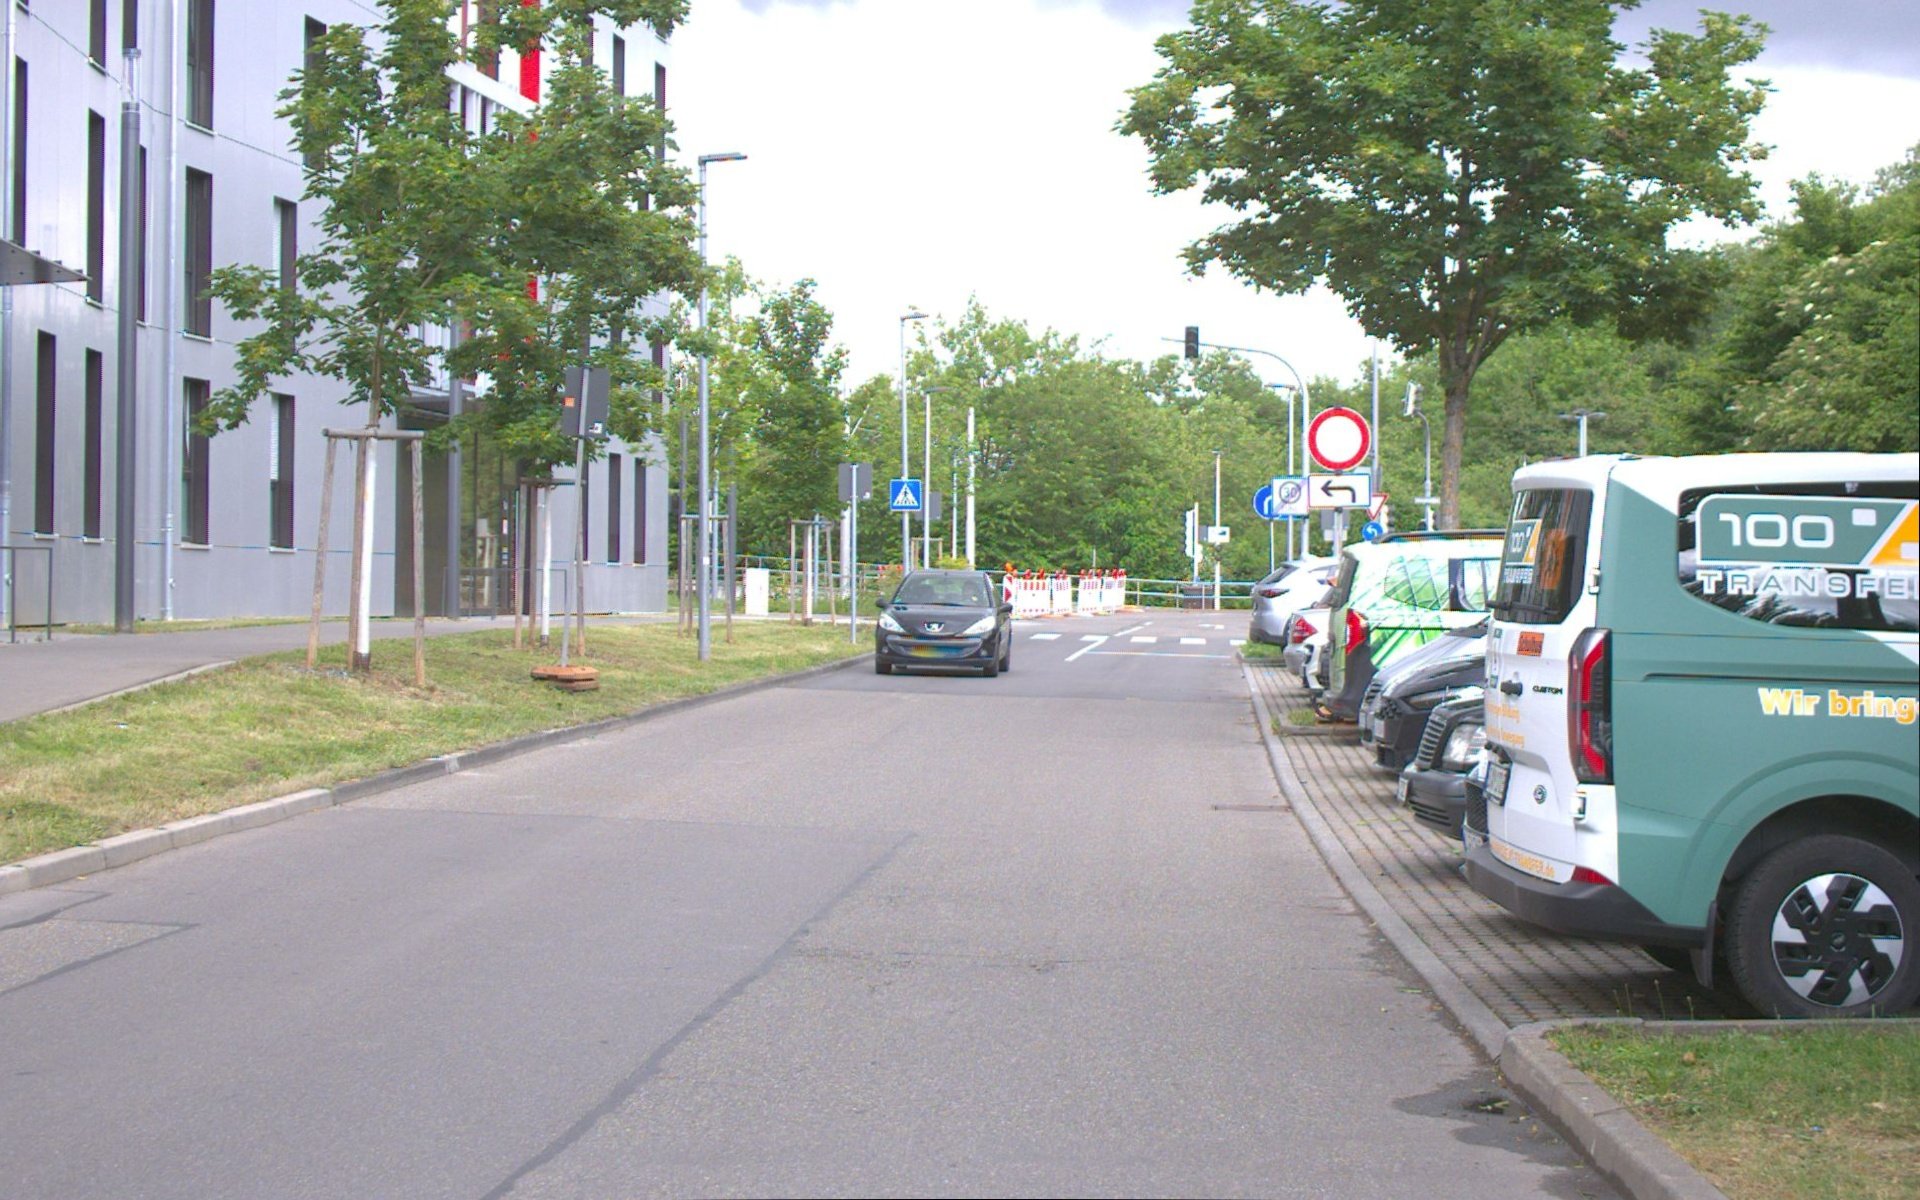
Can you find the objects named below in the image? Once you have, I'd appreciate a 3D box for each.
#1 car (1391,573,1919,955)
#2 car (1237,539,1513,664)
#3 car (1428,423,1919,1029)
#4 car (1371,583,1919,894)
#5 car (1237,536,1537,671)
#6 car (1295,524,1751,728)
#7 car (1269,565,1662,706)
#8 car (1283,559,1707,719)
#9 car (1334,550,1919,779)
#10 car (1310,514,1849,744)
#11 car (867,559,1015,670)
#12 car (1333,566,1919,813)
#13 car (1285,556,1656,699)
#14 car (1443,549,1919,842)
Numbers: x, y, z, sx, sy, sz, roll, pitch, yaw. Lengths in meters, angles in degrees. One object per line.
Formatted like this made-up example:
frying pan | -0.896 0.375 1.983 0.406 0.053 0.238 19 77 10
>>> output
car | 4.296 0.649 14.749 4.704 1.511 1.846 -1 1 2
car | 6.873 0.005 57.290 4.379 1.897 1.916 2 1 2
car | 4.295 0.379 12.195 4.972 1.965 1.847 -1 1 -1
car | 4.504 0.647 17.254 4.724 1.429 2.057 -1 1 3
car | 6.533 0.040 52.934 4.379 1.897 1.916 2 1 2
car | 5.736 0.245 35.478 4.379 1.897 1.936 2 1 2
car | 5.918 0.397 40.667 4.379 1.470 1.916 2 1 2
car | 5.834 0.409 37.878 4.379 1.568 1.916 2 0 2
car | 4.999 0.442 25.121 4.379 1.571 1.916 -1 1 2
car | 5.314 0.233 29.947 4.379 1.897 1.916 -1 1 2
car | -0.219 0.169 47.034 1.609 1.383 3.999 2 1 5
car | 4.940 0.547 22.577 4.725 1.493 2.112 -1 1 -1
car | 6.356 0.323 43.203 4.379 1.612 1.916 2 1 2
car | 4.957 0.515 20.018 4.065 1.603 1.892 -1 1 2
